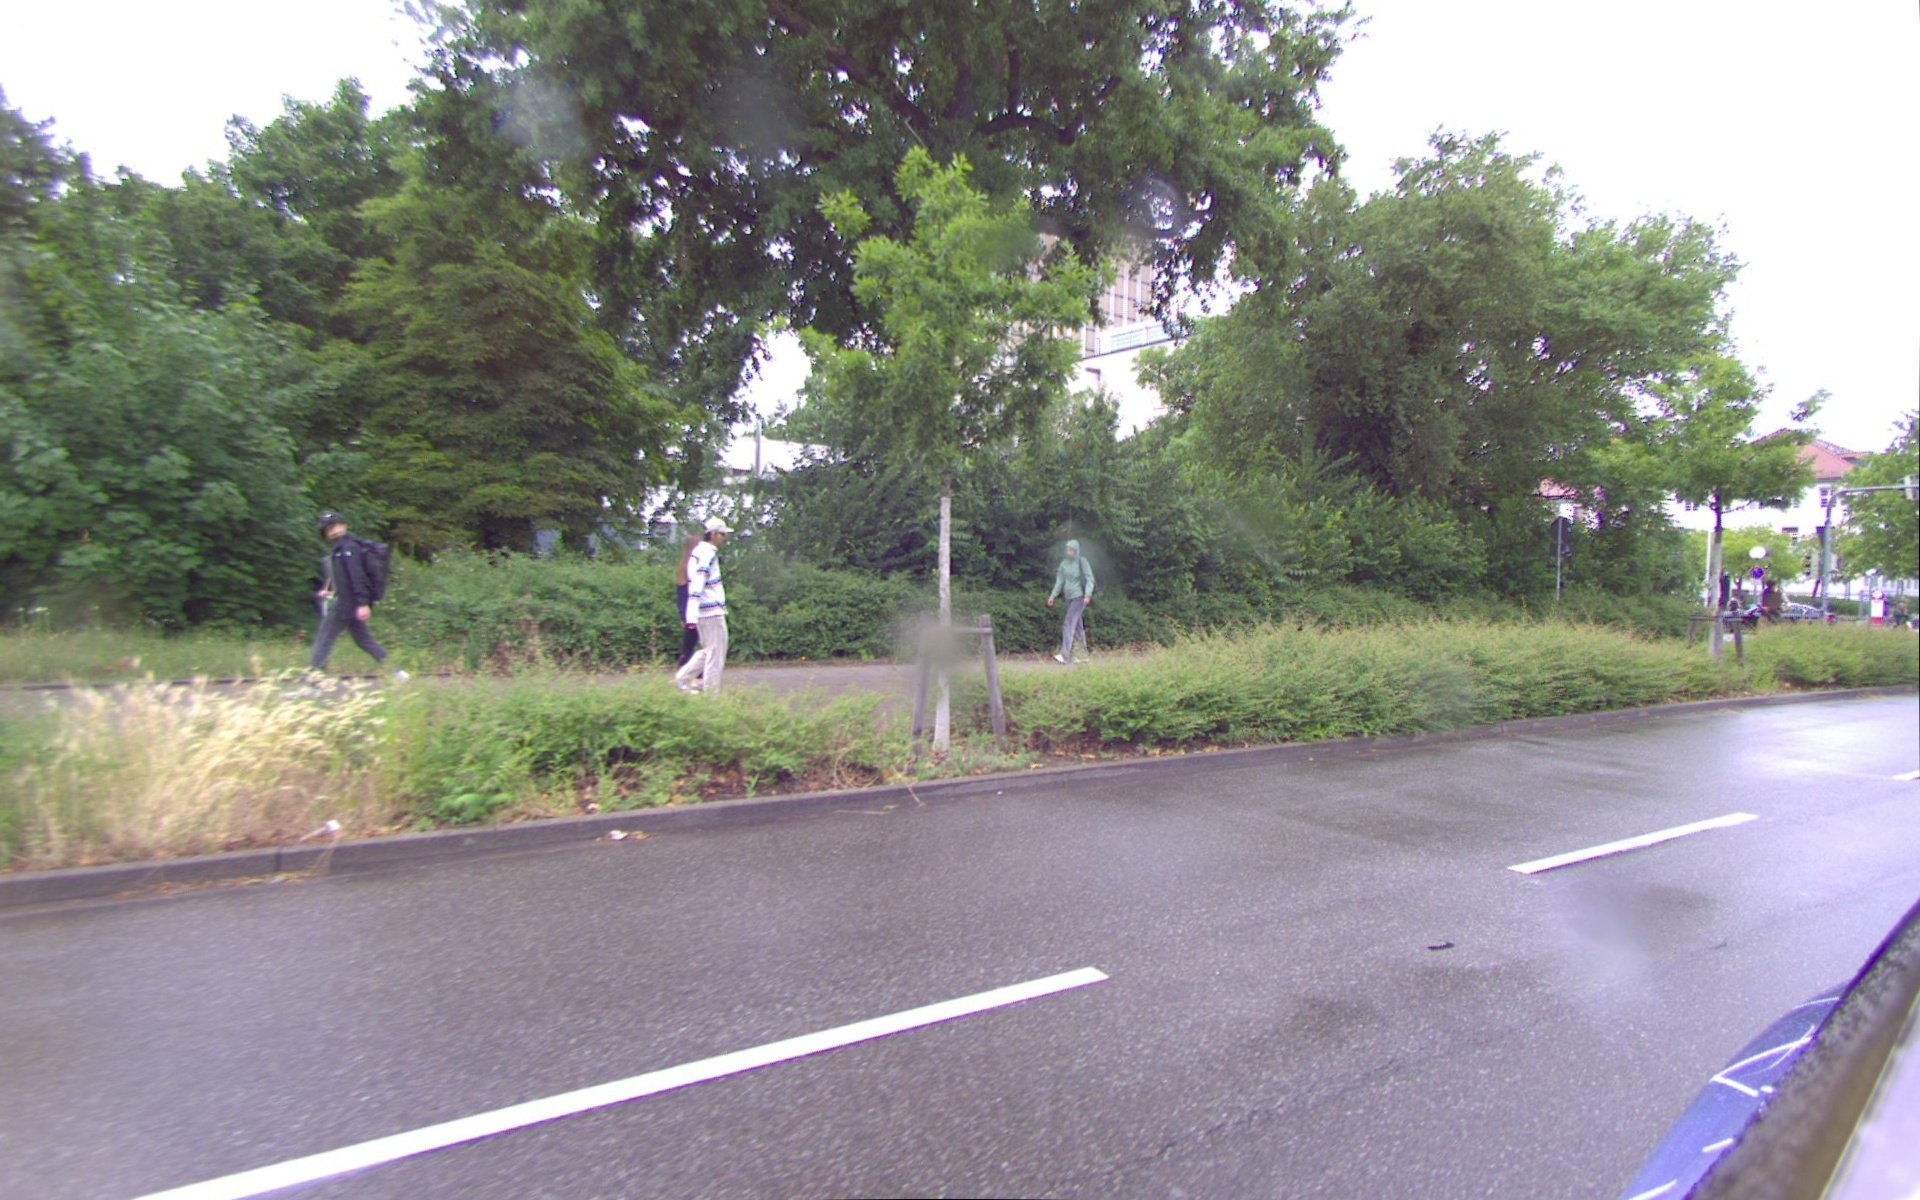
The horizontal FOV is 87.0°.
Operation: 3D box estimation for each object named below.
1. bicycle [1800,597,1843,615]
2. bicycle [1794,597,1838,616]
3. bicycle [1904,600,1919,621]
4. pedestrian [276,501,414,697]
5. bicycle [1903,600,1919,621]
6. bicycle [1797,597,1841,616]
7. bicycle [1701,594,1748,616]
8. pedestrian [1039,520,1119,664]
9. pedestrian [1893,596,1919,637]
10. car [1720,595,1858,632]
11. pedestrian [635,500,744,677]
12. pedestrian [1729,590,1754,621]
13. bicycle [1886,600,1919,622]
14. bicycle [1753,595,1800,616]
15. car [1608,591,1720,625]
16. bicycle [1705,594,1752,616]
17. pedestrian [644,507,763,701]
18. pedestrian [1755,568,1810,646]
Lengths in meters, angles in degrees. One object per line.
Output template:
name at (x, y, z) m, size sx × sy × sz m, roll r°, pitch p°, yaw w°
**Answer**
bicycle at (61.855, 0.430, 72.668) m, size 0.589 × 1.237 × 2.280 m, roll 1°, pitch 2°, yaw -45°
bicycle at (60.302, 0.422, 71.317) m, size 0.589 × 1.237 × 2.280 m, roll 1°, pitch 2°, yaw -45°
bicycle at (59.327, 0.680, 61.877) m, size 0.589 × 1.237 × 2.280 m, roll 1°, pitch 2°, yaw -45°
pedestrian at (-5.884, -0.018, 9.750) m, size 1.024 × 1.769 × 0.938 m, roll 1°, pitch 1°, yaw -26°
bicycle at (58.795, 0.679, 61.377) m, size 0.589 × 1.237 × 2.280 m, roll 1°, pitch 2°, yaw -45°
bicycle at (61.070, 0.427, 71.948) m, size 0.589 × 1.237 × 2.280 m, roll 1°, pitch 2°, yaw -45°
bicycle at (47.966, 0.305, 63.508) m, size 0.589 × 1.237 × 2.280 m, roll 1°, pitch 2°, yaw -45°
pedestrian at (1.748, -0.124, 14.909) m, size 0.811 × 2.038 × 0.794 m, roll 1°, pitch 1°, yaw -26°
pedestrian at (38.714, 0.680, 41.155) m, size 0.869 × 1.627 × 0.855 m, roll 2°, pitch 1°, yaw 28°
car at (36.360, 0.546, 44.472) m, size 1.740 × 1.353 × 4.390 m, roll -3°, pitch 4°, yaw -36°
pedestrian at (-2.844, -0.109, 10.589) m, size 0.812 × 1.725 × 0.937 m, roll 4°, pitch -1°, yaw -28°
pedestrian at (44.916, 0.301, 58.188) m, size 0.841 × 1.759 × 1.114 m, roll 2°, pitch 1°, yaw 25°
bicycle at (55.577, 0.650, 58.998) m, size 0.589 × 1.237 × 2.280 m, roll 1°, pitch 2°, yaw -45°
bicycle at (52.761, 0.364, 65.440) m, size 0.589 × 1.237 × 2.280 m, roll 1°, pitch 2°, yaw -45°
car at (33.557, 0.343, 48.349) m, size 1.740 × 1.395 × 4.019 m, roll -2°, pitch 4°, yaw -34°
bicycle at (48.513, 0.311, 63.926) m, size 0.589 × 1.237 × 2.280 m, roll 1°, pitch 2°, yaw -45°
pedestrian at (-2.474, 0.045, 9.701) m, size 0.812 × 1.743 × 0.937 m, roll 4°, pitch -1°, yaw -28°
pedestrian at (20.414, 0.167, 25.122) m, size 0.833 × 1.882 × 0.733 m, roll 1°, pitch 1°, yaw -26°
